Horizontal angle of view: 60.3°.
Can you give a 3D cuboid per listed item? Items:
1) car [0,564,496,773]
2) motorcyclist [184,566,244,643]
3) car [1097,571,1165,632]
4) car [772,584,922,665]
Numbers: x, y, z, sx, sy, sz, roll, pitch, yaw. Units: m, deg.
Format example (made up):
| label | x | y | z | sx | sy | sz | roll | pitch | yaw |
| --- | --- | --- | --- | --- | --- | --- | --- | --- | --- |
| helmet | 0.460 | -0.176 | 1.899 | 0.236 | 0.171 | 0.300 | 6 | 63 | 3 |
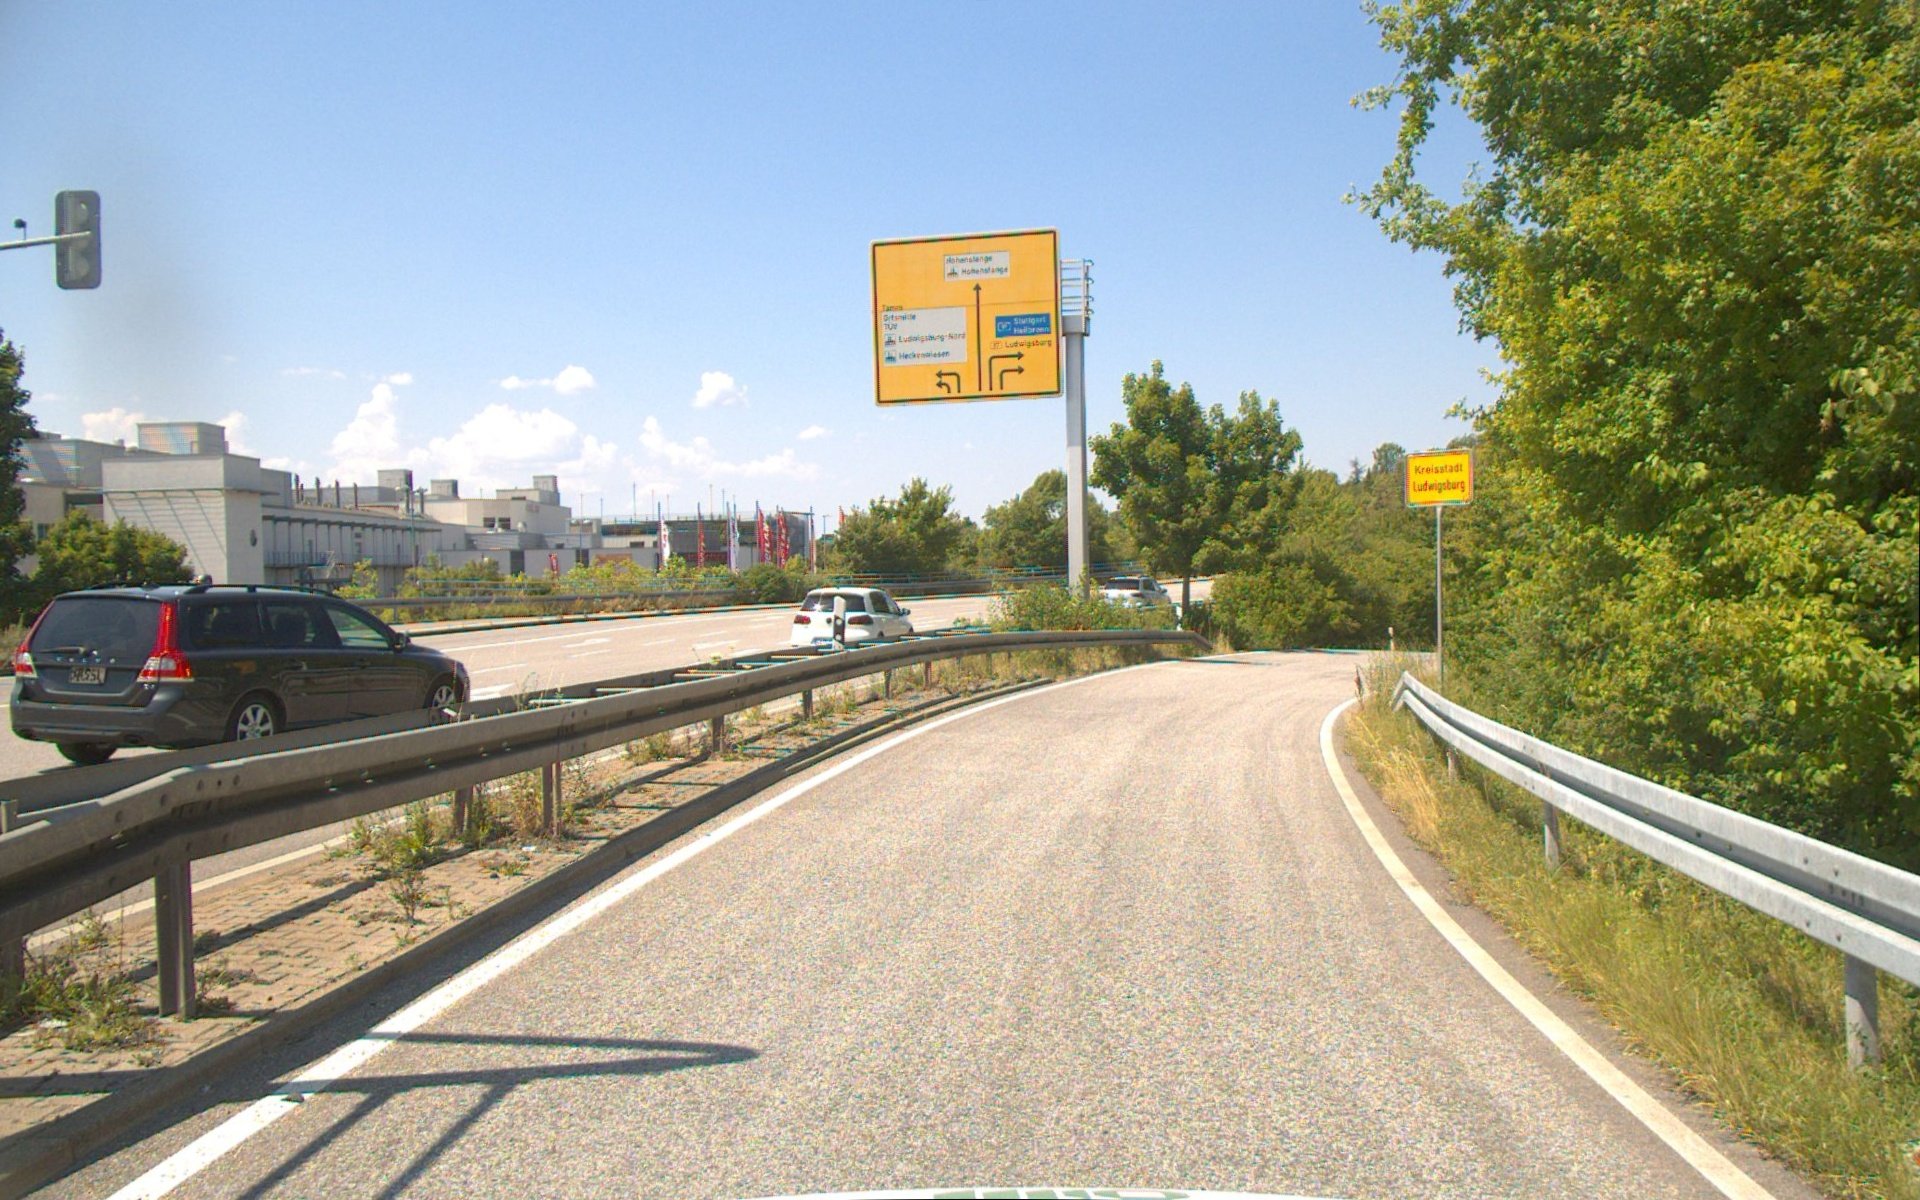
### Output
| label | x | y | z | sx | sy | sz | roll | pitch | yaw |
| --- | --- | --- | --- | --- | --- | --- | --- | --- | --- |
| car | -6.215 | 0.521 | 14.981 | 1.694 | 1.572 | 4.738 | -1 | 0 | 15 |
| motorcyclist | -13.284 | 0.073 | 29.455 | 0.660 | 1.325 | 0.724 | -3 | 0 | 3 |
| car | 6.146 | 0.034 | 59.186 | 1.699 | 2.048 | 3.790 | -3 | 0 | 16 |
| car | -2.168 | 0.448 | 32.928 | 1.951 | 1.512 | 4.139 | 0 | 0 | 12 |
